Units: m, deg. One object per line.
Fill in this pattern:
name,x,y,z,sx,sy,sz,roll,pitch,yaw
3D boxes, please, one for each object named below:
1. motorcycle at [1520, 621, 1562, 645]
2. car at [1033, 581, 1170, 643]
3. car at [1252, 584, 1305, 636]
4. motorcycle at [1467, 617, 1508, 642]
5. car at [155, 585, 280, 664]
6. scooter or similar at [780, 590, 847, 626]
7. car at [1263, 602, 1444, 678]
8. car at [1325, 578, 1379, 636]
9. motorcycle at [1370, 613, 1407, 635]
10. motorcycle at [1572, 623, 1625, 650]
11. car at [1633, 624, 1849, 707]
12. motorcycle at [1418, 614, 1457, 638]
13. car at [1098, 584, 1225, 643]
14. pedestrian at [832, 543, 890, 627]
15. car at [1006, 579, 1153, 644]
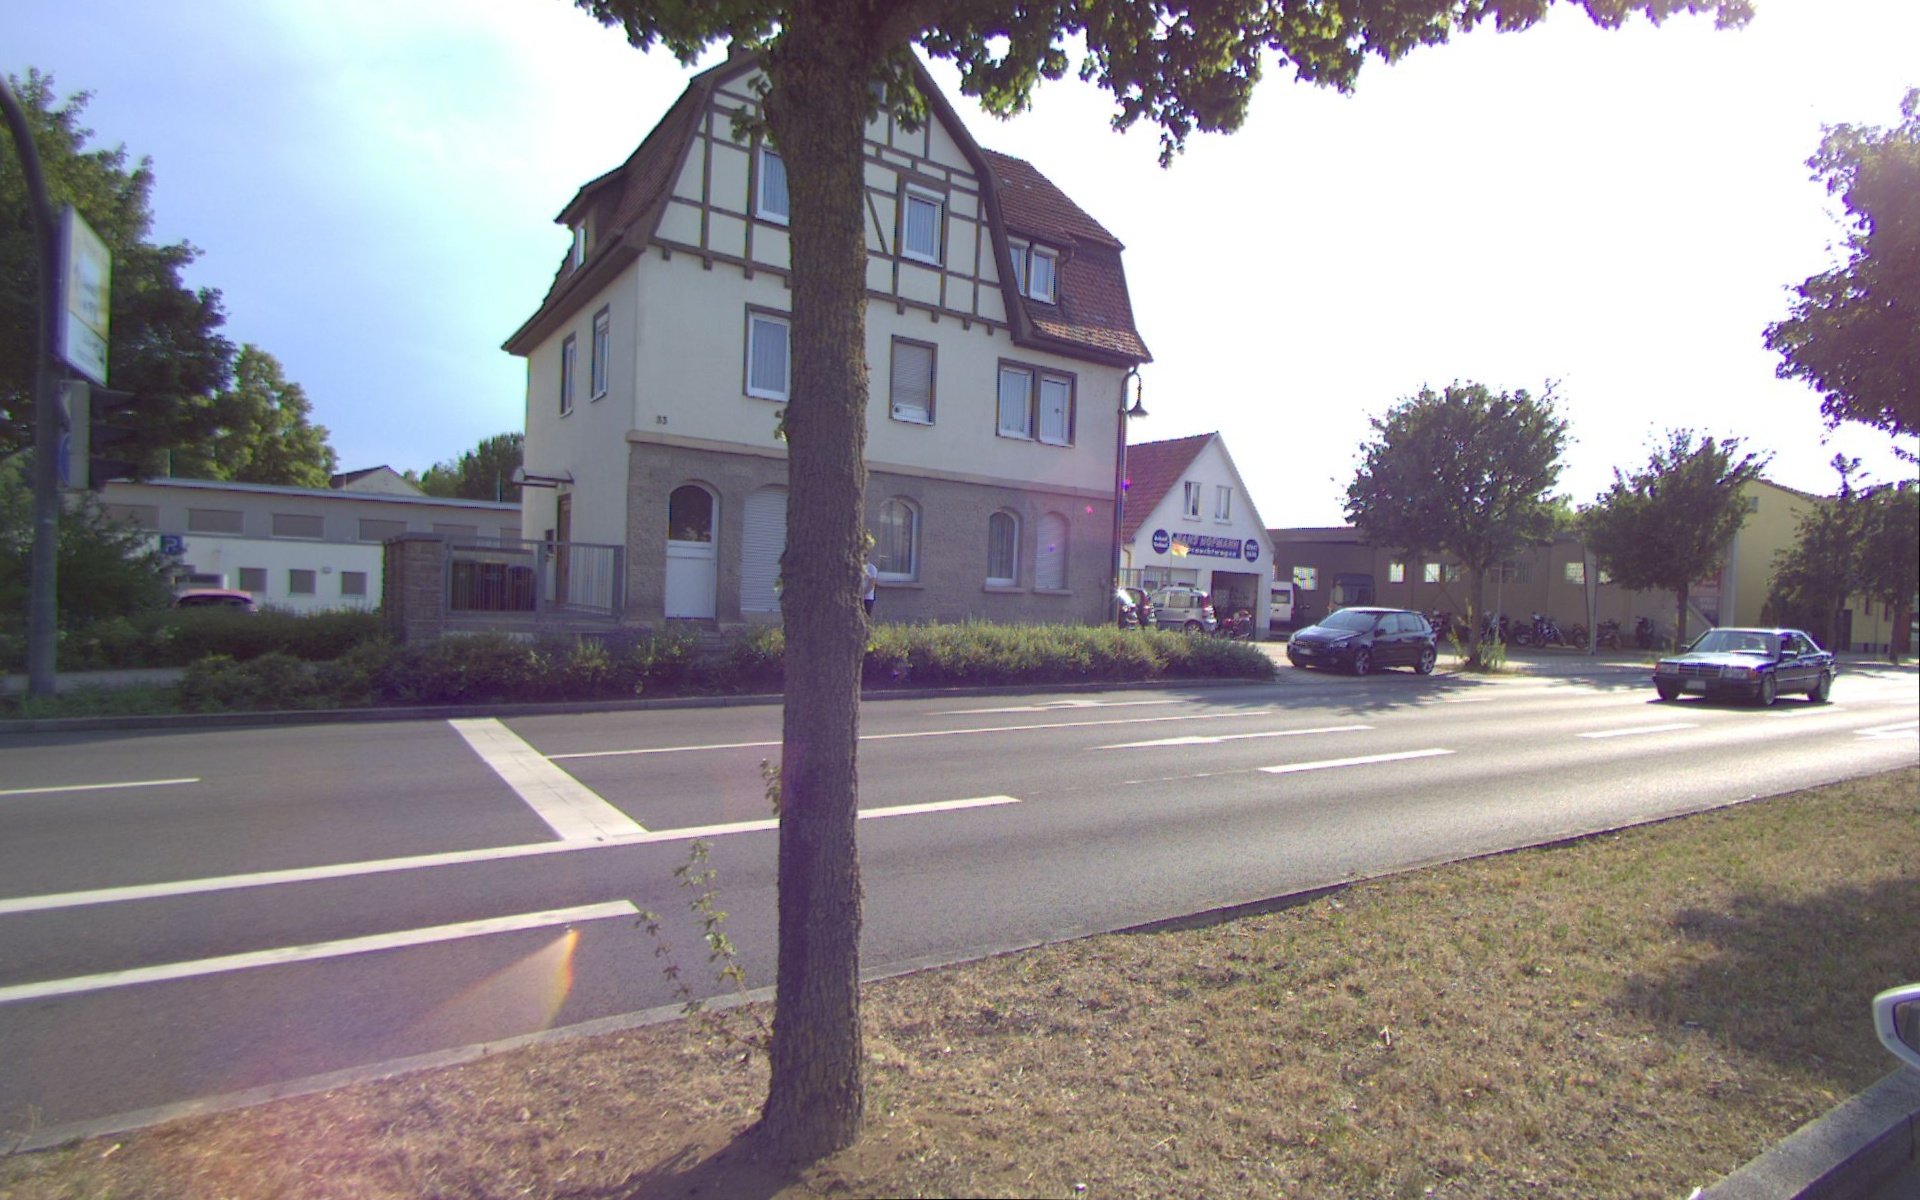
motorcycle,25.476,1.455,44.049,1.512,1.018,0.517,1,0,-2
car,4.255,0.306,30.342,3.617,1.497,1.819,6,4,33
car,15.618,0.439,49.123,2.003,2.179,4.317,5,4,22
motorcycle,24.336,1.359,46.352,1.605,1.083,0.517,1,0,-1
car,-15.348,0.472,20.936,1.543,1.489,3.586,2,0,-28
scooter or similar,-2.450,0.141,16.810,1.033,0.590,0.441,1,0,-34
car,9.111,0.886,23.185,4.088,1.474,1.745,1,4,-33
car,18.069,0.258,46.480,2.002,2.367,4.319,5,4,19
motorcycle,21.569,1.215,50.551,1.605,1.083,0.517,1,0,-1
motorcycle,26.816,1.531,42.197,1.832,1.083,0.517,1,0,3
car,14.795,1.172,18.978,4.433,1.379,1.747,1,0,-31
motorcycle,23.003,1.256,48.401,1.605,1.121,0.517,1,0,-1
car,6.418,0.377,31.964,3.609,1.497,1.823,5,4,21
pedestrian,-1.725,-0.247,17.527,0.699,1.413,0.807,1,0,-34
car,3.331,0.299,28.111,3.617,1.548,1.820,4,1,33
